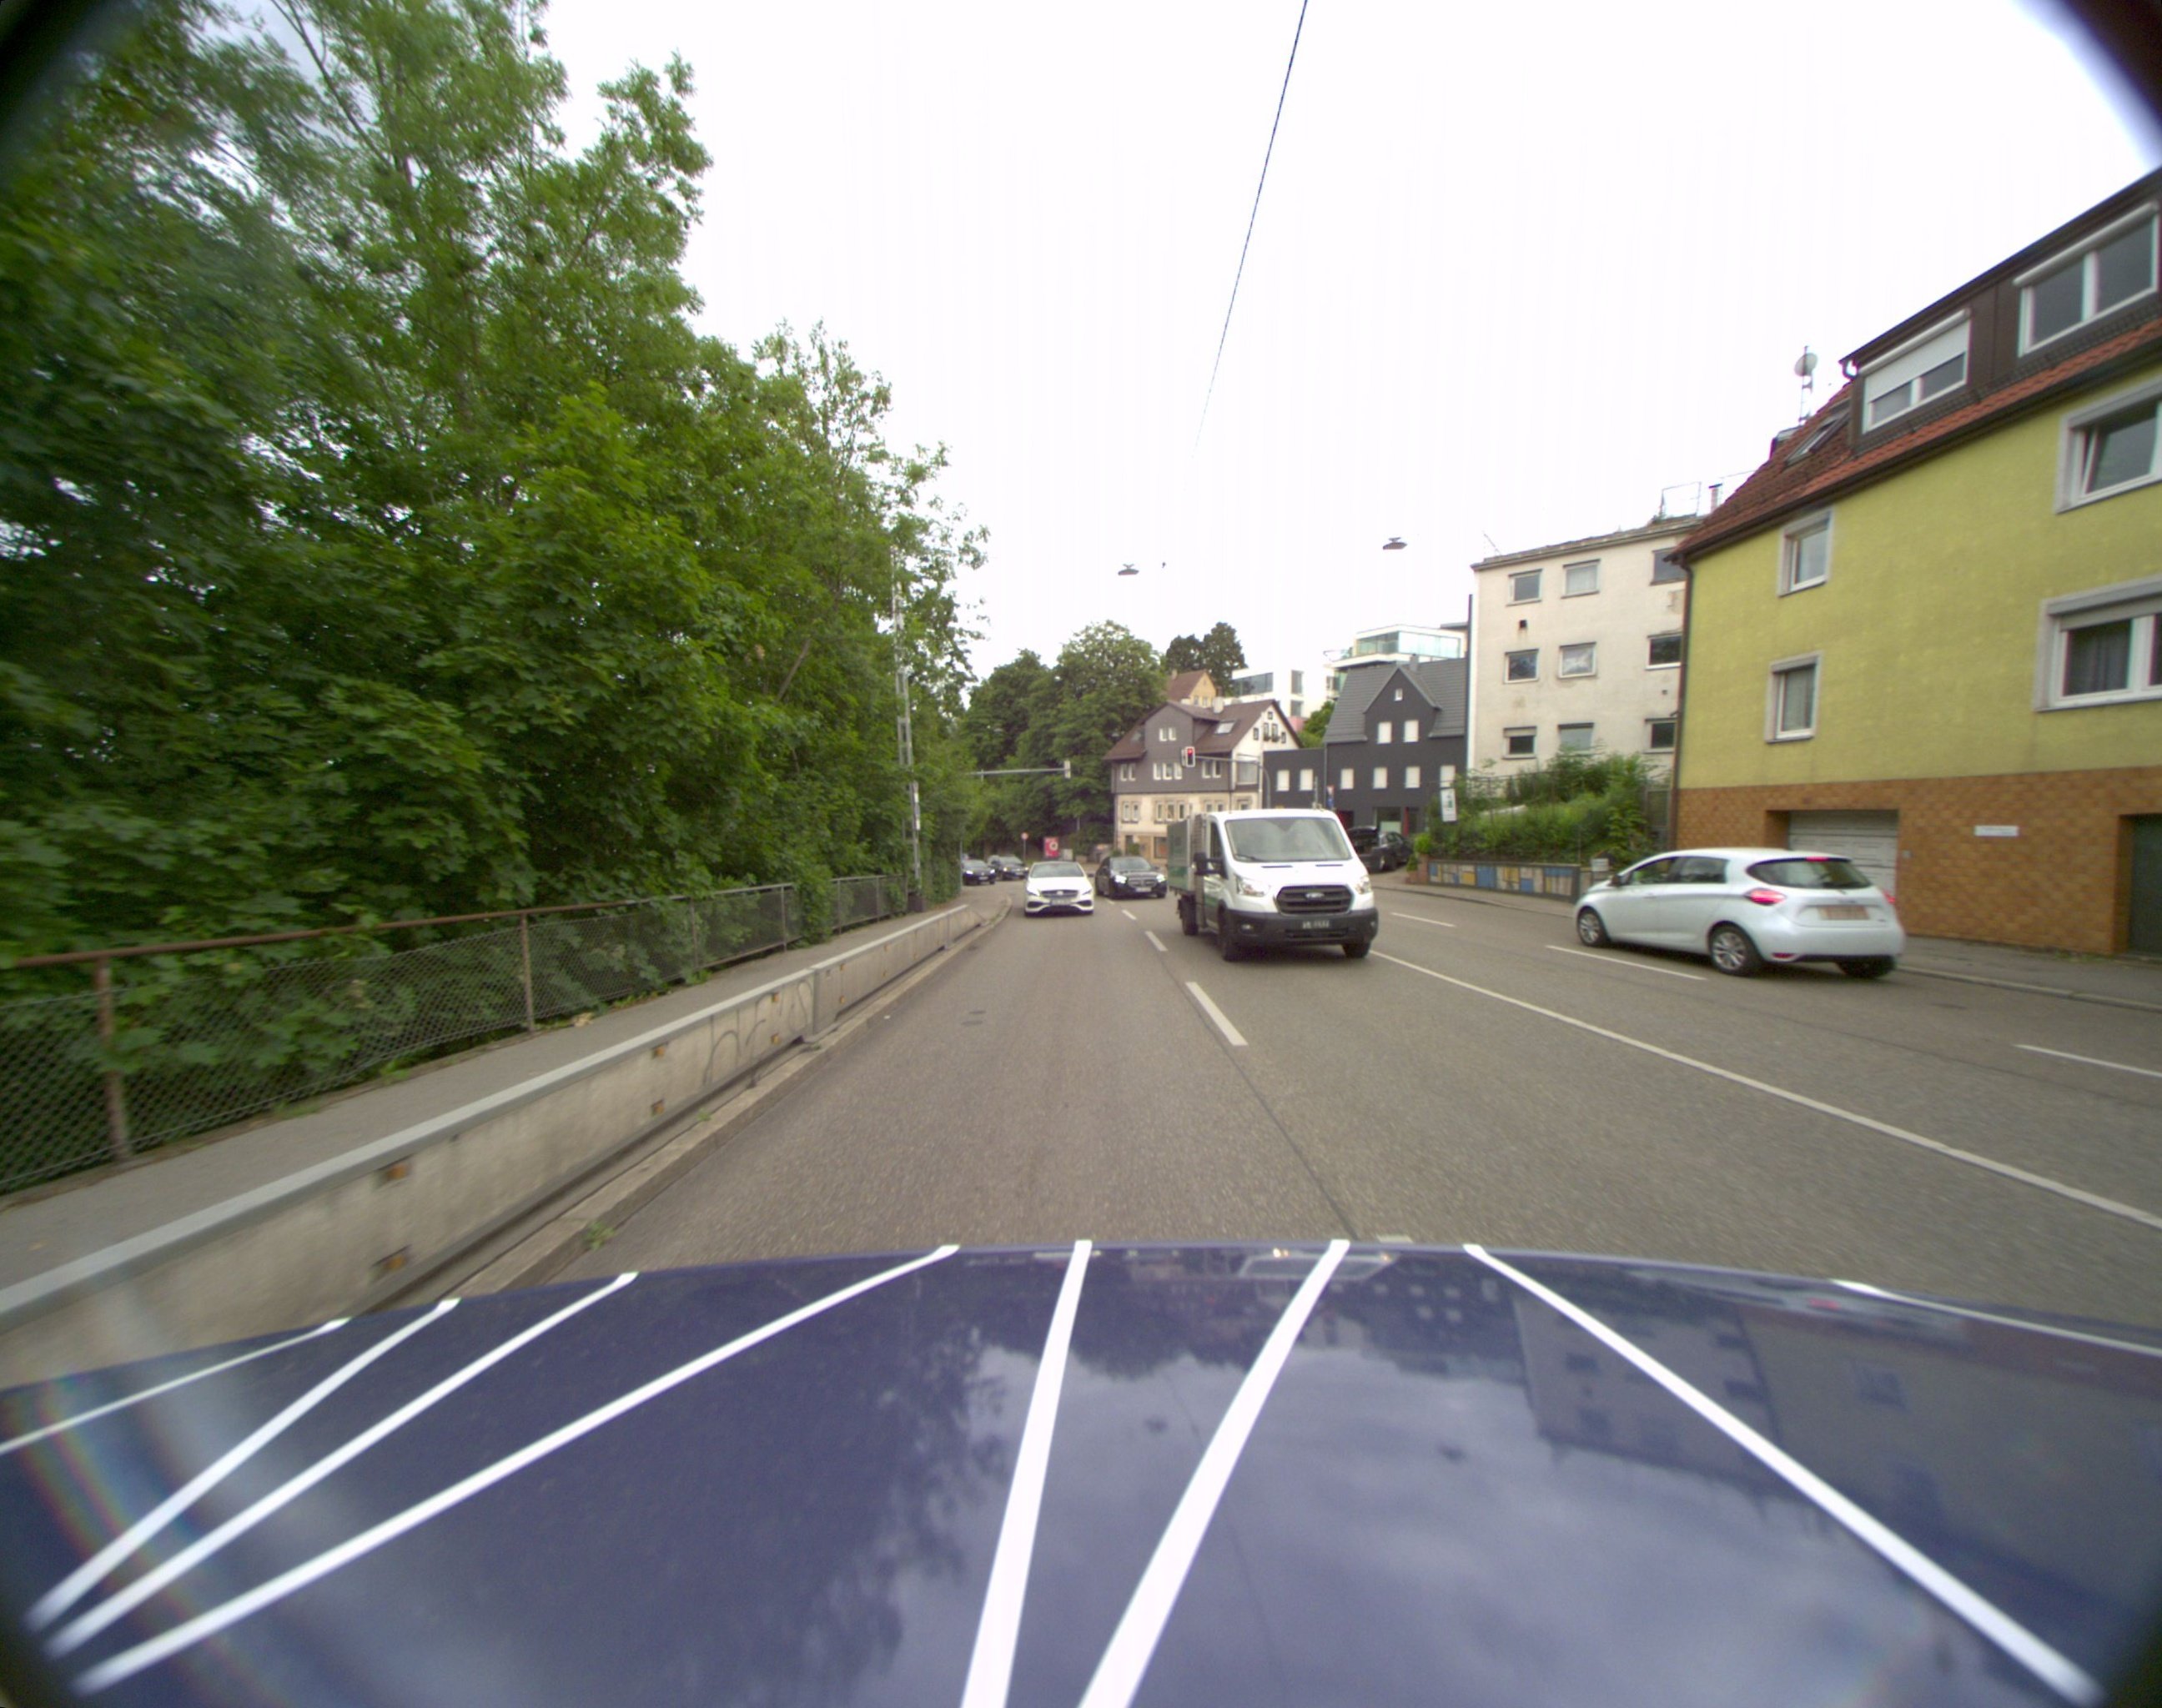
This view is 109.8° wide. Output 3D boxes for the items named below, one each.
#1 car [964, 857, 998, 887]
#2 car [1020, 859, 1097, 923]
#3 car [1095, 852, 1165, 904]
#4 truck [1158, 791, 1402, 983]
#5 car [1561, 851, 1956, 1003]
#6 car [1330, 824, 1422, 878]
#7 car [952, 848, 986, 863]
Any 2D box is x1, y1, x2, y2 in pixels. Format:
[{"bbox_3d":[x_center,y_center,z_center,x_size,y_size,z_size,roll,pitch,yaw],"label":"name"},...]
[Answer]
[{"bbox_3d":[-6.016,1.020,45.331,1.779,1.533,3.996,-4,2,-9],"label":"car"},{"bbox_3d":[-0.634,0.926,20.792,1.817,1.391,3.998,-3,1,-2],"label":"car"},{"bbox_3d":[1.648,0.782,26.967,1.916,1.472,4.398,-4,2,-3],"label":"car"},{"bbox_3d":[2.788,0.392,12.543,2.081,2.307,6.330,-2,0,-2],"label":"truck"},{"bbox_3d":[8.599,0.786,10.241,1.748,1.604,4.056,1,0,2],"label":"car"},{"bbox_3d":[13.294,-0.177,34.073,2.313,1.703,4.709,-6,3,40],"label":"car"},{"bbox_3d":[-12.327,0.196,83.586,1.720,1.520,4.290,-5,2,-38],"label":"car"}]
